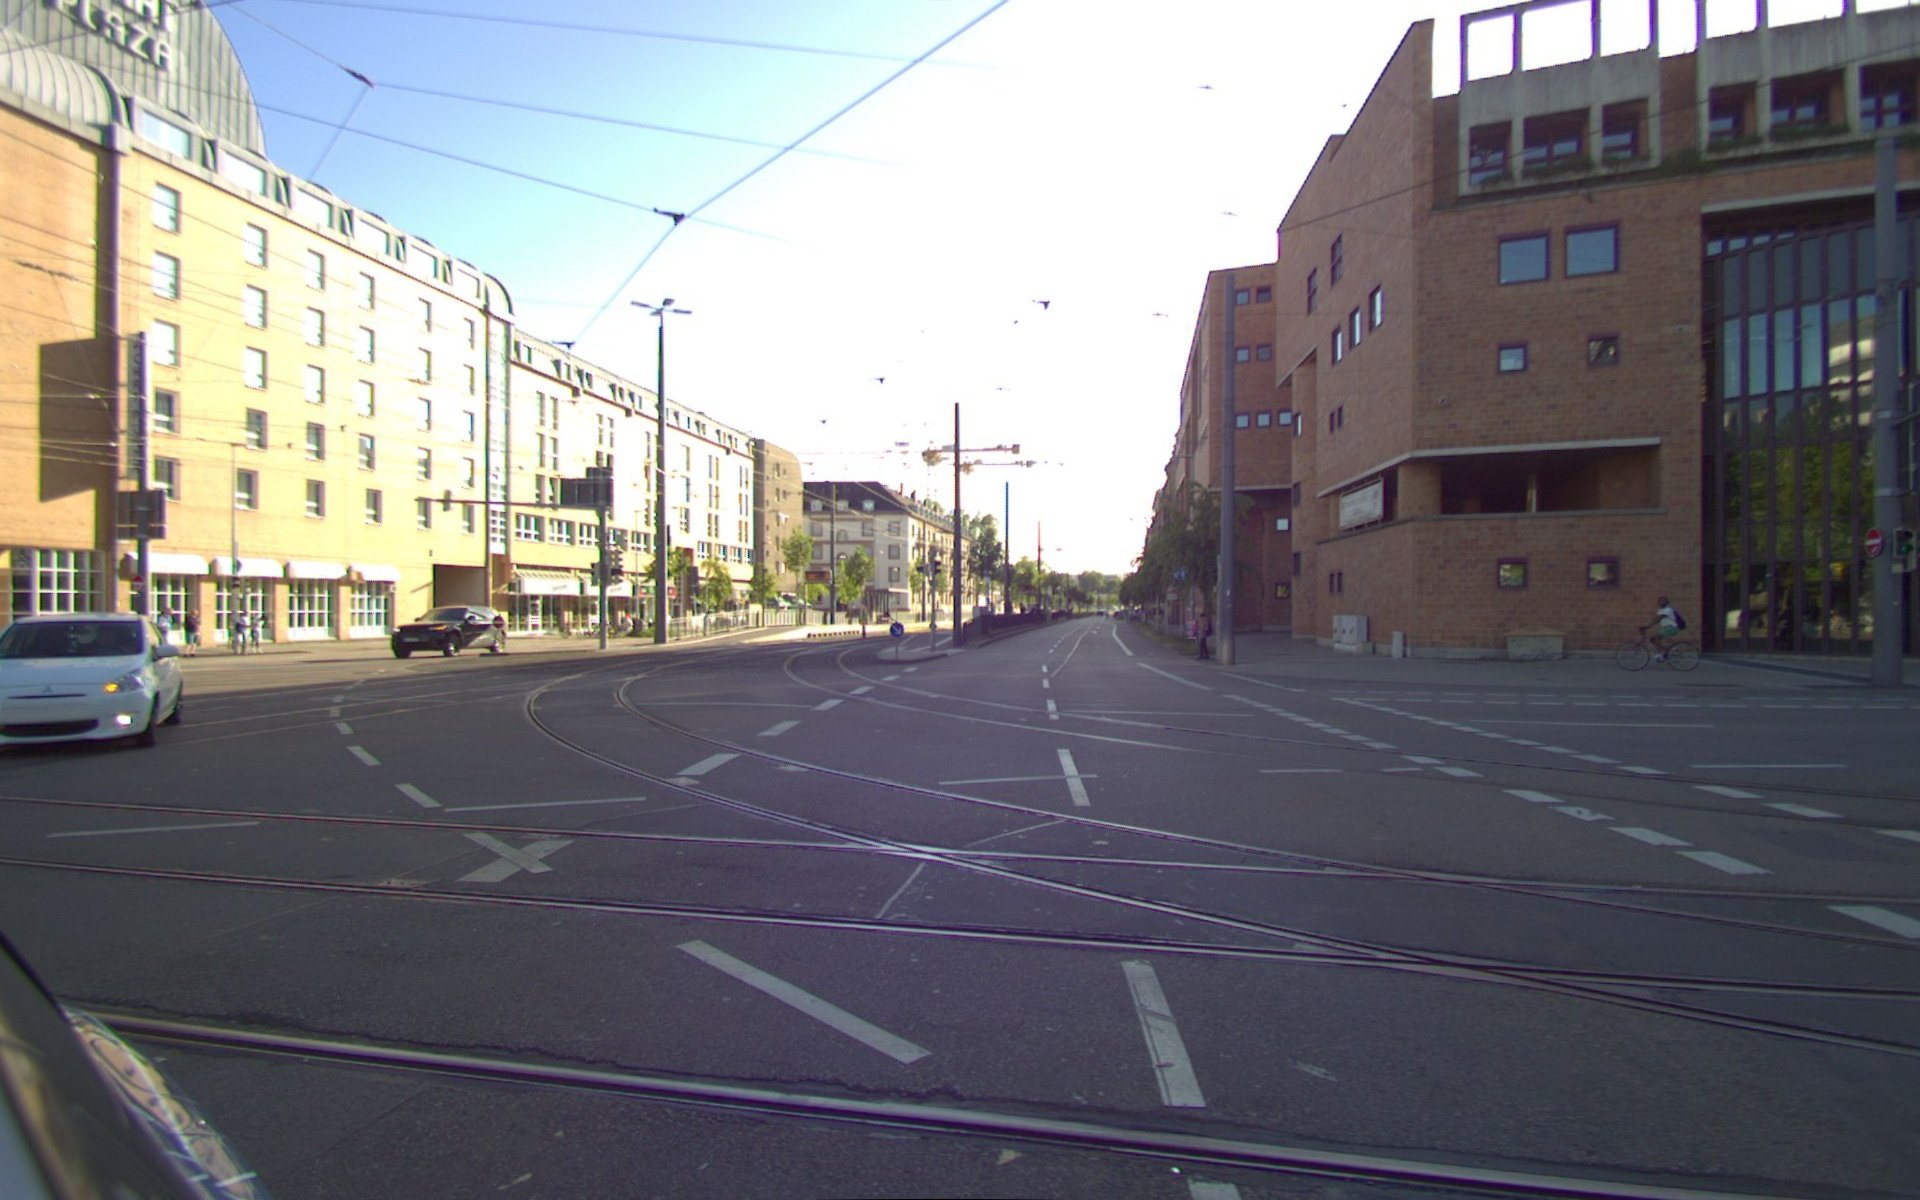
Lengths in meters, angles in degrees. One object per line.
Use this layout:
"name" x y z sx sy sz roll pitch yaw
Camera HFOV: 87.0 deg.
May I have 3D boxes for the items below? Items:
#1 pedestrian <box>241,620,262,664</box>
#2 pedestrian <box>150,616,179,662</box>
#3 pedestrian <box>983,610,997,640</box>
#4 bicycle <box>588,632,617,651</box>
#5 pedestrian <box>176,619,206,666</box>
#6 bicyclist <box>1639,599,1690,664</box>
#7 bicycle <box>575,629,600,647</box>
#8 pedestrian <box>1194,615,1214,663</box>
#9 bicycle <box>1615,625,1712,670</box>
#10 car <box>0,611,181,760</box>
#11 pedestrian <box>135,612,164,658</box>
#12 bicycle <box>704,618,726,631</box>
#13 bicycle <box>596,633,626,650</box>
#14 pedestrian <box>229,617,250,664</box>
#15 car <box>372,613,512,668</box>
"pedestrian" -28.836 1.707 41.191 0.405 1.788 0.571 0 -1 43
"pedestrian" -30.218 1.484 38.456 0.556 1.716 0.657 -2 -1 7
"pedestrian" 1.599 1.335 54.087 0.693 1.546 0.653 0 -2 7
"bicycle" -23.688 2.755 67.099 1.758 1.150 0.551 1 0 13
"pedestrian" -29.174 1.614 38.386 0.684 1.781 0.574 -1 -2 -6
"bicyclist" 17.764 0.783 25.530 0.923 1.602 0.680 -1 -1 27
"bicycle" -24.300 2.475 65.957 1.769 1.157 0.547 1 0 31
"pedestrian" 8.413 1.328 34.891 0.502 1.629 0.505 -2 -1 -1
"bicycle" 17.723 1.190 25.533 1.910 1.088 0.611 -1 -1 27
"car" -10.431 0.914 11.965 1.613 1.478 4.197 0 -2 -33
"pedestrian" -30.818 1.328 38.497 0.596 1.740 0.601 -2 -1 6
"bicycle" -22.195 2.202 91.654 1.852 1.058 0.603 5 -1 -41
"bicycle" -23.545 2.776 68.319 1.758 1.079 0.734 1 0 13
"pedestrian" -28.613 1.598 40.194 0.489 1.847 0.735 2 -1 -25
"car" -17.068 1.292 33.621 1.934 1.674 4.342 -2 -1 9
